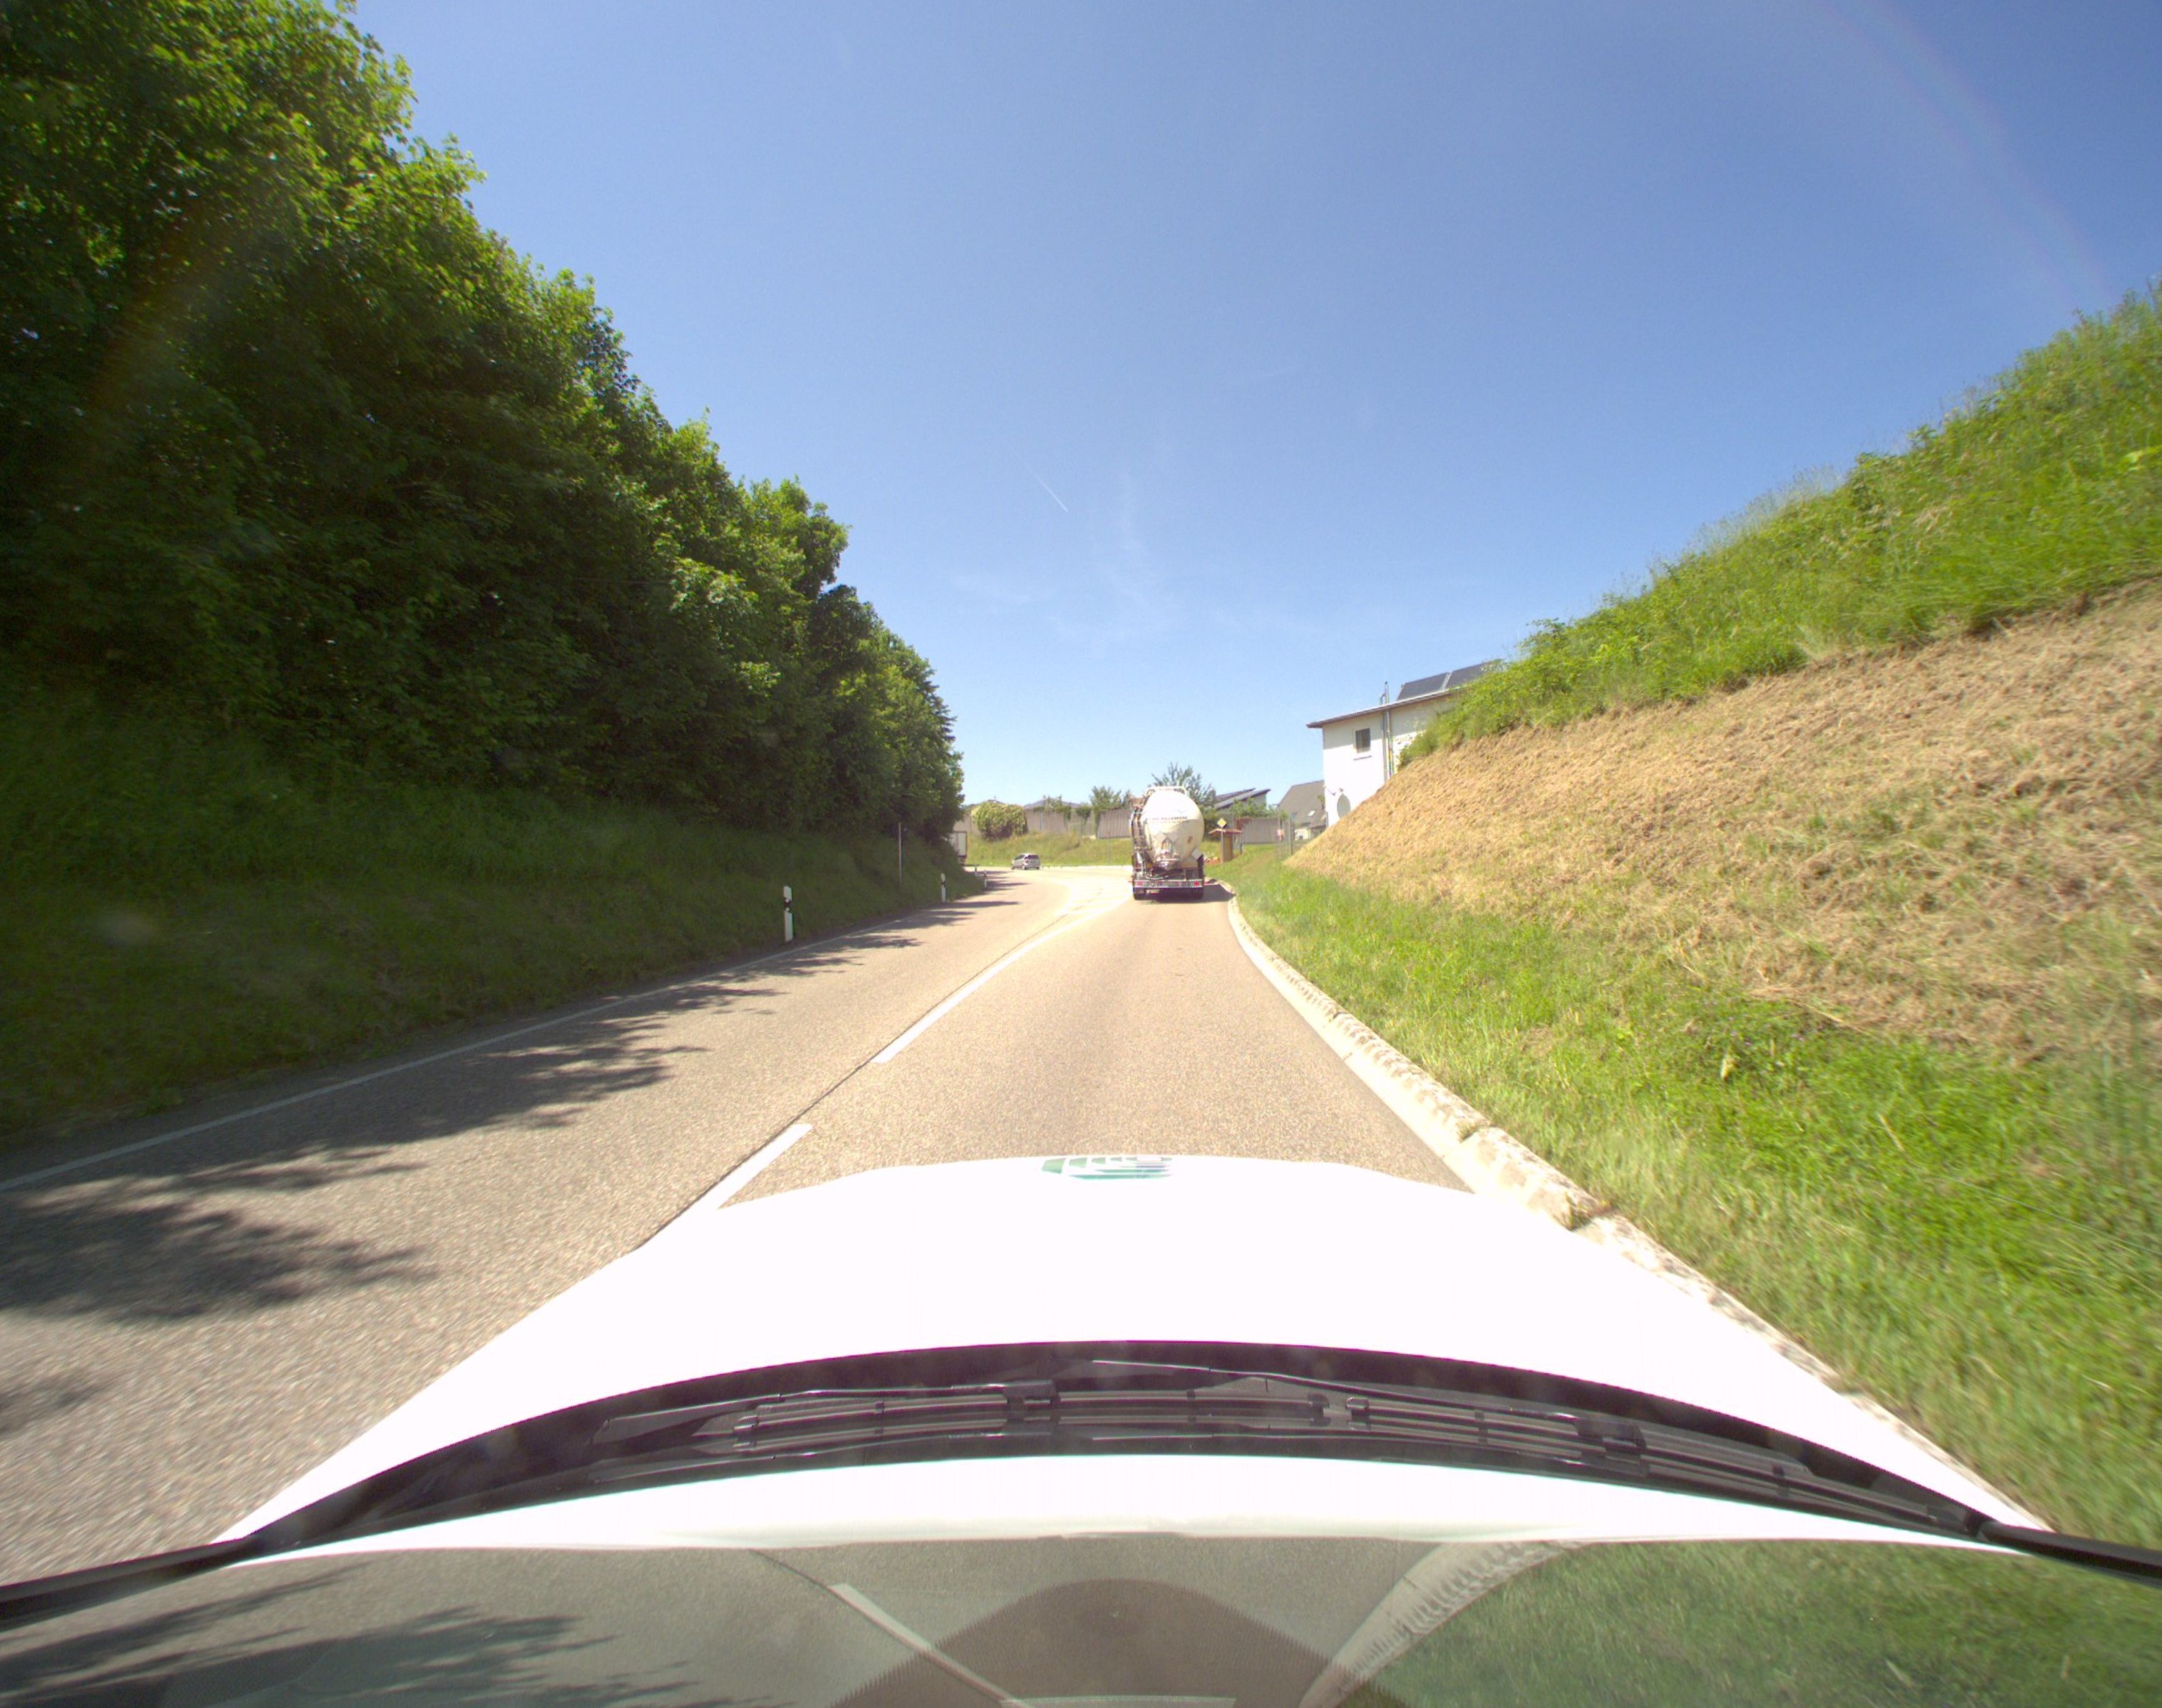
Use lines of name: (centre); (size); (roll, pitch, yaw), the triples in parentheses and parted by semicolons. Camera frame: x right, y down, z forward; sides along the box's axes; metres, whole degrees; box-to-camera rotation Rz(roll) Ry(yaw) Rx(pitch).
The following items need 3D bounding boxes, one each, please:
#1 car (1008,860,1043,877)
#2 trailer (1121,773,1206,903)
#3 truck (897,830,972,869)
car: (-5.310, 1.391, 77.549); (1.659, 1.509, 3.600); (2, -2, -34)
trailer: (3.480, -0.474, 32.605); (2.646, 4.189, 11.929); (-2, -1, 7)
truck: (-17.362, -0.585, 95.587); (3.217, 4.310, 11.662); (2, -1, -40)
